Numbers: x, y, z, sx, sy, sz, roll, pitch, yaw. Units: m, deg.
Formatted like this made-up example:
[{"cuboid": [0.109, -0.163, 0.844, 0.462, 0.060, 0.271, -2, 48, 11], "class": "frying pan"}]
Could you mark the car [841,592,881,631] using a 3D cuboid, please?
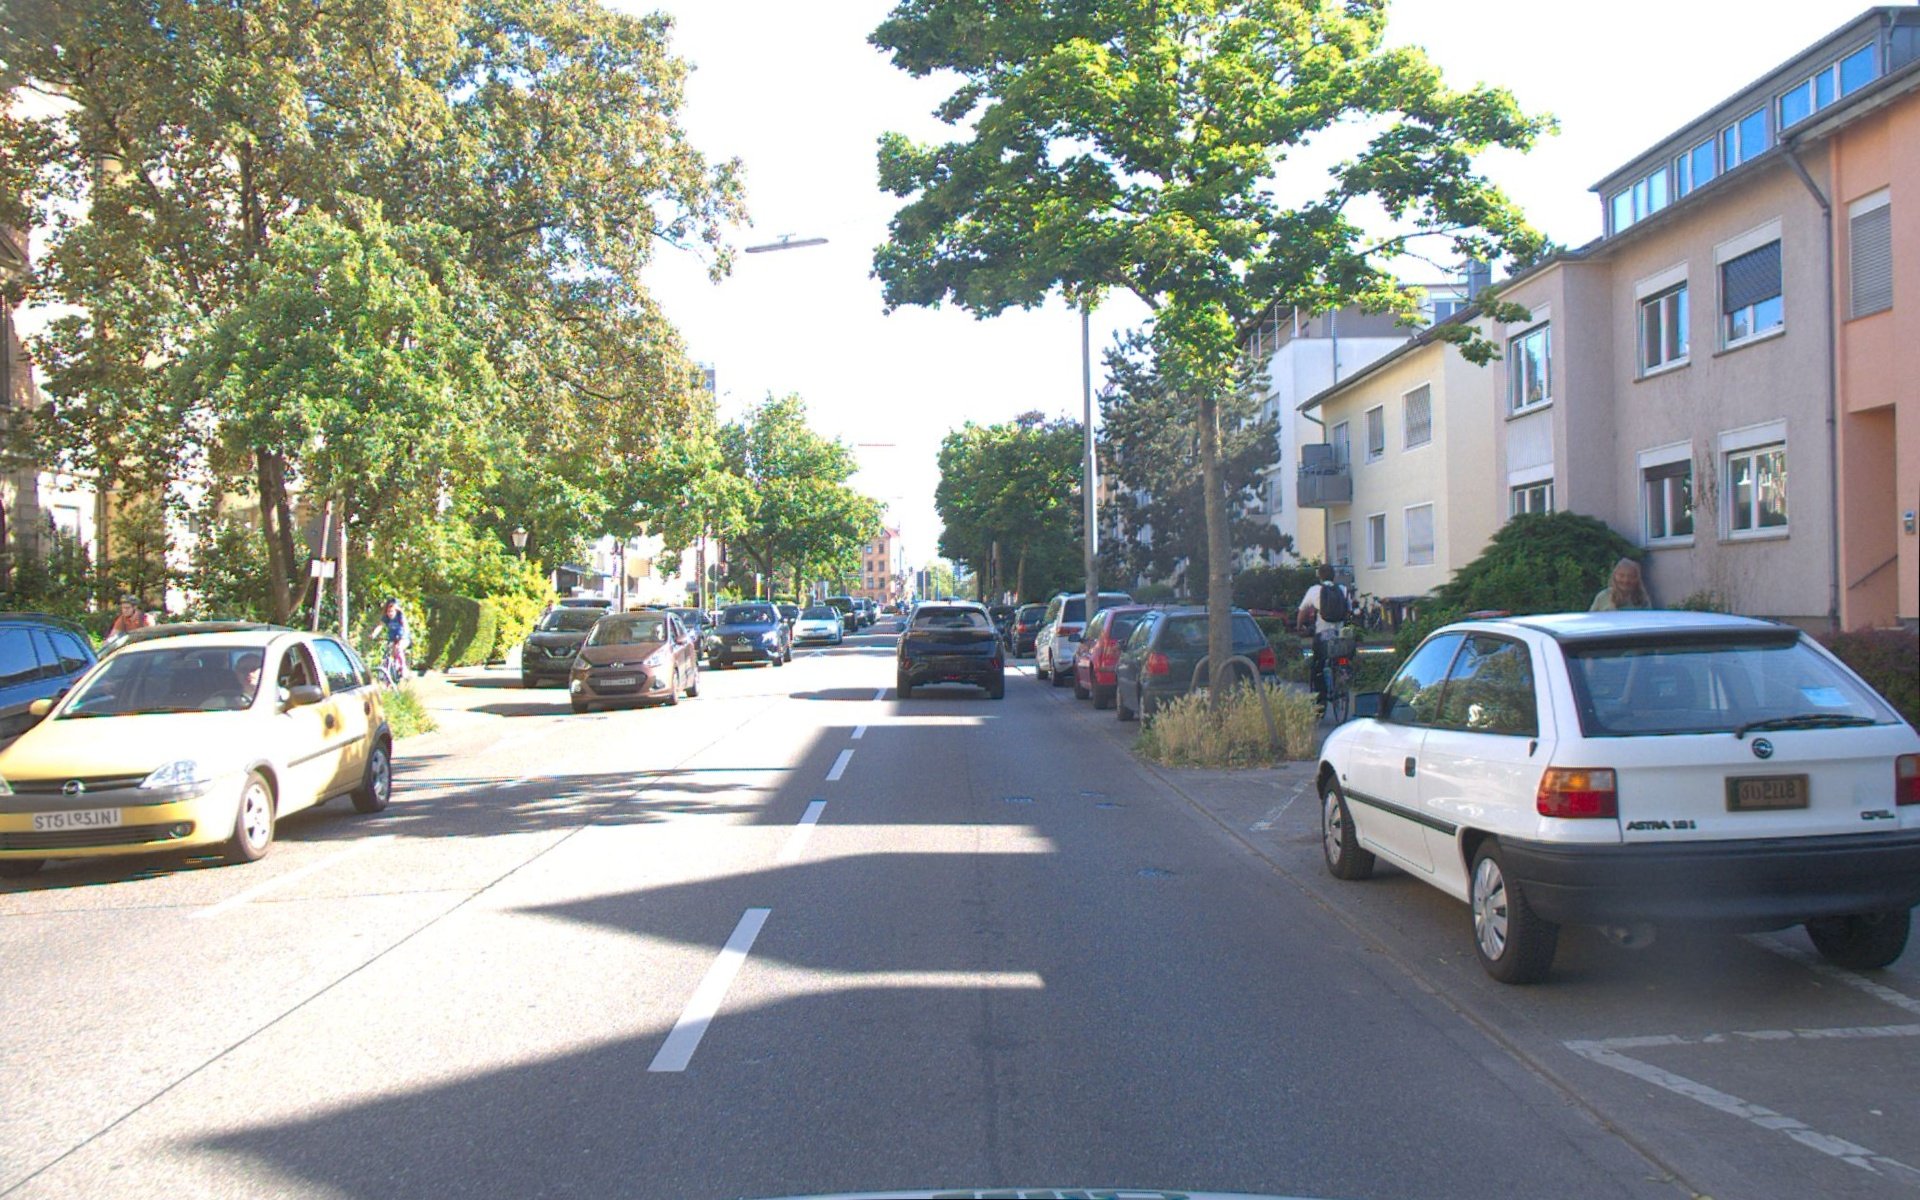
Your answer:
[{"cuboid": [-5.491, 0.640, 92.090, 1.976, 1.986, 5.176, -3, 0, -2], "class": "car"}]

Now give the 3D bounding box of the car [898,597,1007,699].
[{"cuboid": [-0.145, 0.751, 27.694, 1.710, 1.601, 3.557, 0, 0, -1], "class": "car"}]

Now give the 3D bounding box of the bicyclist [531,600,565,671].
[{"cuboid": [-10.626, 0.896, 42.663, 0.570, 1.798, 1.208, 1, 0, -2], "class": "bicyclist"}]

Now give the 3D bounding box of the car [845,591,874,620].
[{"cuboid": [-7.232, 0.389, 119.718, 1.767, 1.944, 4.710, -4, 0, -1], "class": "car"}]

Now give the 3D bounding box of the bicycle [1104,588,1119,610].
[{"cuboid": [9.082, -0.057, 99.069, 0.610, 1.309, 1.842, -4, 0, -1], "class": "bicycle"}]

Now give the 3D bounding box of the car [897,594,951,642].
[{"cuboid": [-1.252, 0.613, 58.776, 1.793, 1.606, 3.839, -2, 0, 0], "class": "car"}]

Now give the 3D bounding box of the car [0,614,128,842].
[{"cuboid": [-7.722, 0.935, 11.667, 1.637, 1.633, 4.392, -1, 0, -3], "class": "car"}]

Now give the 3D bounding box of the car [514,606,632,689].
[{"cuboid": [-8.113, 0.956, 35.017, 1.592, 1.616, 4.346, 0, 0, -2], "class": "car"}]

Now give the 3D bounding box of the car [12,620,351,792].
[{"cuboid": [-7.783, 0.986, 16.953, 1.568, 1.503, 3.931, -1, 0, 1], "class": "car"}]

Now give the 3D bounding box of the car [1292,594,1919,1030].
[{"cuboid": [2.834, 0.733, 7.765, 1.616, 1.427, 3.969, -3, 0, -1], "class": "car"}]

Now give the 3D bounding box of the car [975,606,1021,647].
[{"cuboid": [1.433, 0.984, 63.254, 1.554, 1.420, 4.453, -3, 0, 0], "class": "car"}]

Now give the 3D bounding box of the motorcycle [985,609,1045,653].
[{"cuboid": [1.692, 0.957, 51.358, 0.690, 1.294, 2.409, -3, 0, -28], "class": "motorcycle"}]

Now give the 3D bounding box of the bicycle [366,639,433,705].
[{"cuboid": [-9.922, 1.261, 29.353, 0.596, 1.091, 1.743, -2, 0, -1], "class": "bicycle"}]

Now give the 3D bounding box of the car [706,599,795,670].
[{"cuboid": [-5.466, 0.862, 43.593, 1.800, 1.642, 4.399, -4, 0, -2], "class": "car"}]

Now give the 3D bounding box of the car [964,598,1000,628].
[{"cuboid": [1.153, 0.682, 88.444, 1.680, 1.515, 4.232, -2, 0, -3], "class": "car"}]

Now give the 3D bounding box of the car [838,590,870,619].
[{"cuboid": [-6.971, 0.272, 109.093, 1.779, 1.773, 4.491, -4, 0, -2], "class": "car"}]

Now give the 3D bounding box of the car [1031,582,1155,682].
[{"cuboid": [2.438, 0.563, 31.286, 1.733, 1.688, 4.339, -2, 0, -3], "class": "car"}]

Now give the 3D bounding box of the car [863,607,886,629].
[{"cuboid": [-7.132, 1.499, 138.236, 1.770, 1.676, 4.671, -4, 0, -2], "class": "car"}]

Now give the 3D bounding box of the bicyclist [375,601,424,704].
[{"cuboid": [-9.945, 0.922, 29.375, 0.596, 1.785, 0.691, -1, 0, -1], "class": "bicyclist"}]

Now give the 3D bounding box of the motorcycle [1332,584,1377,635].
[{"cuboid": [11.332, 0.253, 47.561, 0.623, 1.399, 2.425, -2, 0, -1], "class": "motorcycle"}]

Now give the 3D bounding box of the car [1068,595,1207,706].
[{"cuboid": [2.566, 0.691, 24.640, 1.501, 1.475, 3.716, -2, 0, -2], "class": "car"}]

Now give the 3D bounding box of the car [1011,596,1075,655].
[{"cuboid": [2.320, 0.694, 46.912, 1.587, 1.525, 3.649, -2, 0, 0], "class": "car"}]

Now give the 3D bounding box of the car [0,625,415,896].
[{"cuboid": [-5.135, 0.956, 11.369, 1.602, 1.428, 3.734, -3, 0, -2], "class": "car"}]

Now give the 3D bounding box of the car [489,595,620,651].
[{"cuboid": [-14.517, 0.782, 59.223, 4.263, 1.912, 1.863, -1, 0, -27], "class": "car"}]

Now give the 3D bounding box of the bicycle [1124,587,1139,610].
[{"cuboid": [10.215, -0.110, 98.469, 0.579, 1.309, 1.689, -4, 0, -1], "class": "bicycle"}]

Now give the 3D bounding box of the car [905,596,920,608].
[{"cuboid": [-6.257, 0.249, 217.531, 1.735, 1.478, 3.885, -2, 0, 0], "class": "car"}]

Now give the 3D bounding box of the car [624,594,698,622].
[{"cuboid": [-17.195, 0.446, 95.286, 3.906, 1.512, 1.880, -1, 0, -2], "class": "car"}]

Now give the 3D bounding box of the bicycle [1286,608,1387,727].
[{"cuboid": [4.348, 0.752, 19.218, 0.684, 1.268, 1.821, -2, 0, -1], "class": "bicycle"}]

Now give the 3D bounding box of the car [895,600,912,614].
[{"cuboid": [-6.486, 0.785, 190.997, 1.735, 1.478, 3.886, -2, 0, 1], "class": "car"}]

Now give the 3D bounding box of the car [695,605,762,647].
[{"cuboid": [-8.184, 0.891, 58.754, 1.796, 1.413, 4.801, 0, 0, -1], "class": "car"}]

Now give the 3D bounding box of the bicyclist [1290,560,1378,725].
[{"cuboid": [4.327, 0.479, 19.201, 0.709, 1.824, 1.015, -2, 0, -1], "class": "bicyclist"}]

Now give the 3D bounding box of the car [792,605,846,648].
[{"cuboid": [-5.320, 0.980, 62.906, 1.698, 1.437, 4.191, -4, 0, -1], "class": "car"}]

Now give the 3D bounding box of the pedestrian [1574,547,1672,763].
[{"cuboid": [5.390, 0.438, 13.457, 0.527, 1.706, 0.493, -2, 0, -1], "class": "pedestrian"}]

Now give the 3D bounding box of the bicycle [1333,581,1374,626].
[{"cuboid": [12.011, 0.107, 50.570, 0.586, 1.326, 2.425, -2, 0, -1], "class": "bicycle"}]

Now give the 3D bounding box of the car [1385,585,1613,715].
[{"cuboid": [6.614, 0.567, 20.689, 1.501, 1.379, 3.717, -4, 0, -1], "class": "car"}]

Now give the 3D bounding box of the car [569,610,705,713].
[{"cuboid": [-5.225, 0.945, 27.129, 1.549, 1.477, 3.743, -3, 0, -2], "class": "car"}]

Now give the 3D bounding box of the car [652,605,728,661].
[{"cuboid": [-8.161, 0.971, 50.277, 1.643, 1.582, 4.007, -1, 0, 0], "class": "car"}]

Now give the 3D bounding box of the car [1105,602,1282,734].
[{"cuboid": [2.714, 0.742, 19.926, 1.501, 1.379, 3.717, -2, 0, -1], "class": "car"}]
